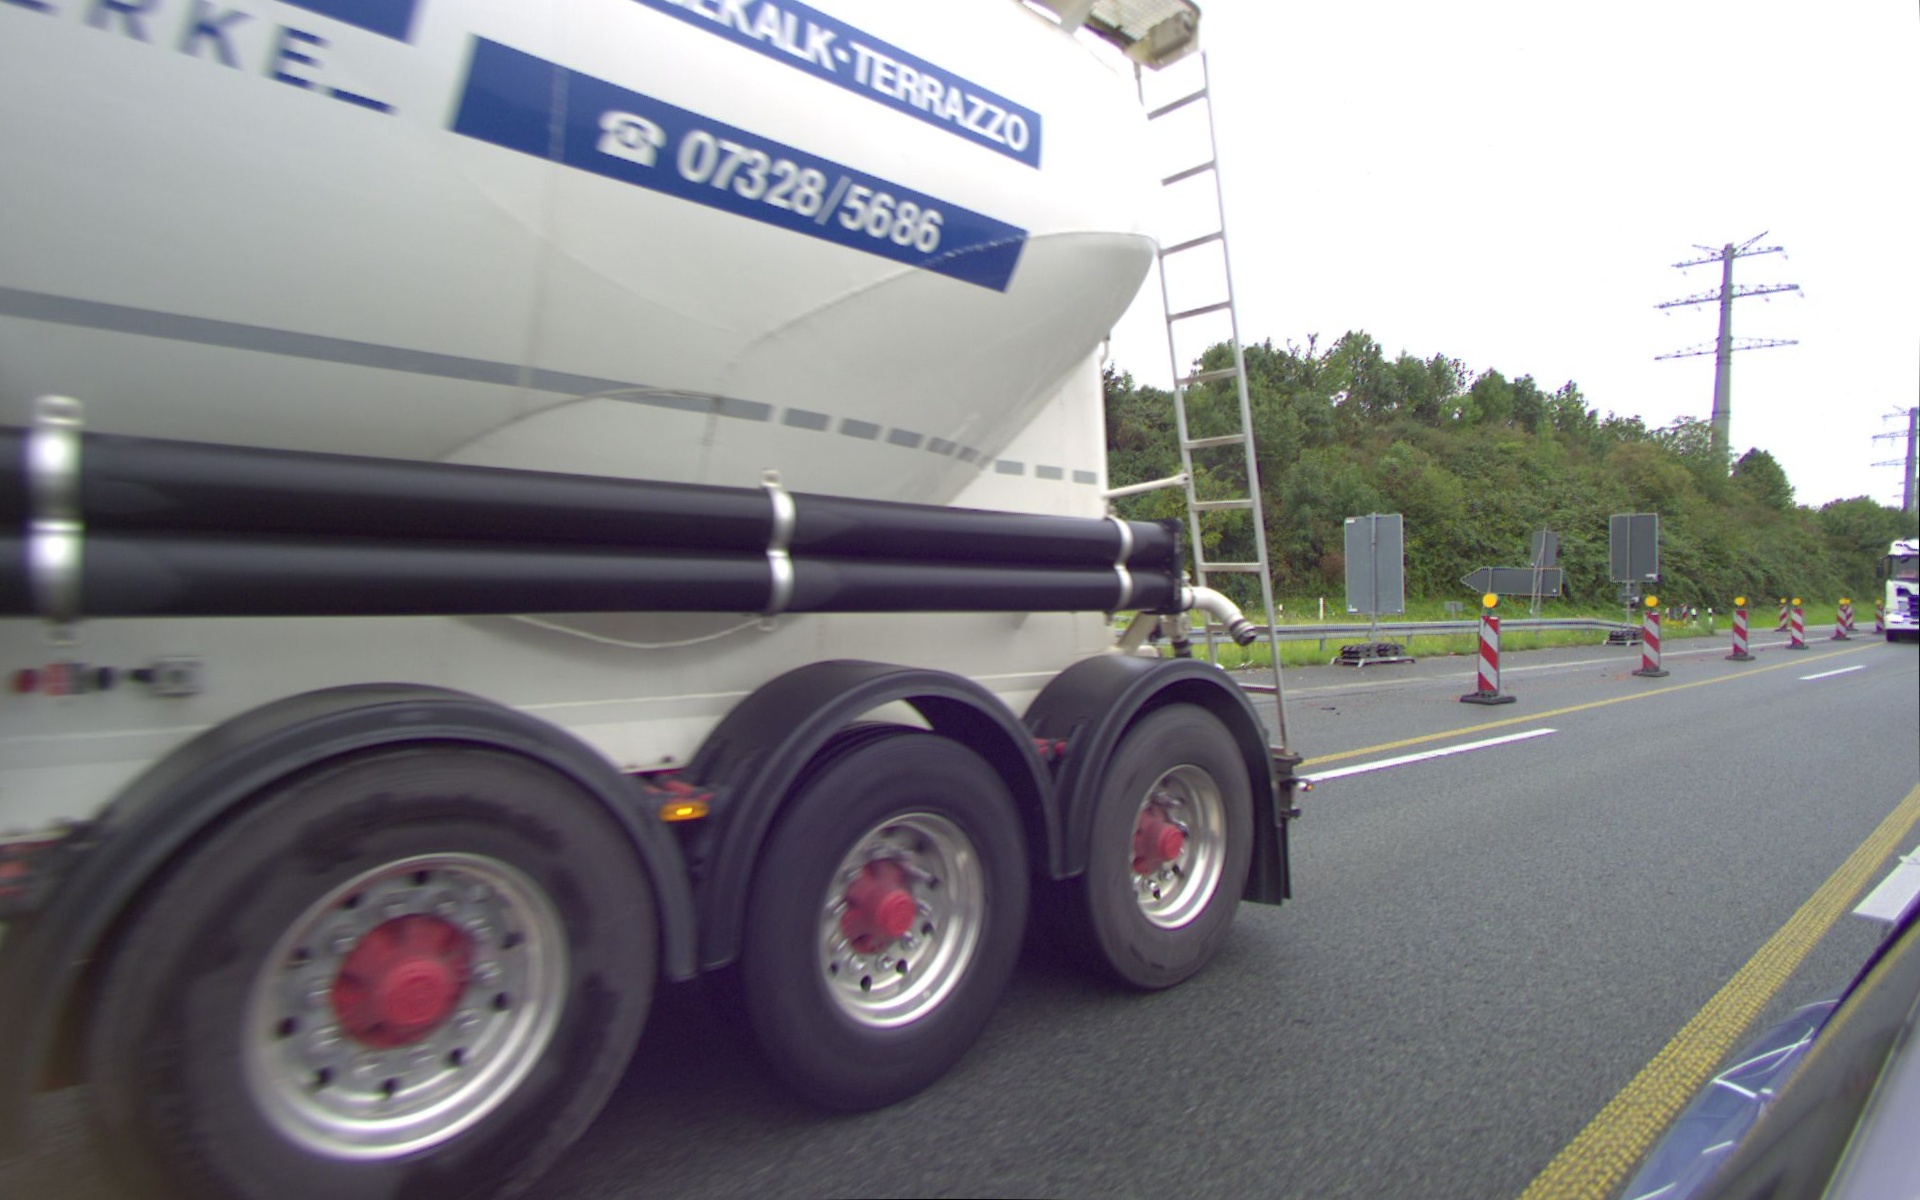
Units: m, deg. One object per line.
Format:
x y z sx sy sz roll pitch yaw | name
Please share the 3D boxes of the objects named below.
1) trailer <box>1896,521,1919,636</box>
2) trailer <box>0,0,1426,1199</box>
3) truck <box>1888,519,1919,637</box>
39.563 -0.873 39.701 13.905 4.053 2.806 -1 1 -41 | trailer
-3.338 -0.860 1.475 12.135 3.882 2.524 -1 1 -41 | trailer
34.855 -0.769 35.575 5.304 3.984 2.746 -1 1 -41 | truck
